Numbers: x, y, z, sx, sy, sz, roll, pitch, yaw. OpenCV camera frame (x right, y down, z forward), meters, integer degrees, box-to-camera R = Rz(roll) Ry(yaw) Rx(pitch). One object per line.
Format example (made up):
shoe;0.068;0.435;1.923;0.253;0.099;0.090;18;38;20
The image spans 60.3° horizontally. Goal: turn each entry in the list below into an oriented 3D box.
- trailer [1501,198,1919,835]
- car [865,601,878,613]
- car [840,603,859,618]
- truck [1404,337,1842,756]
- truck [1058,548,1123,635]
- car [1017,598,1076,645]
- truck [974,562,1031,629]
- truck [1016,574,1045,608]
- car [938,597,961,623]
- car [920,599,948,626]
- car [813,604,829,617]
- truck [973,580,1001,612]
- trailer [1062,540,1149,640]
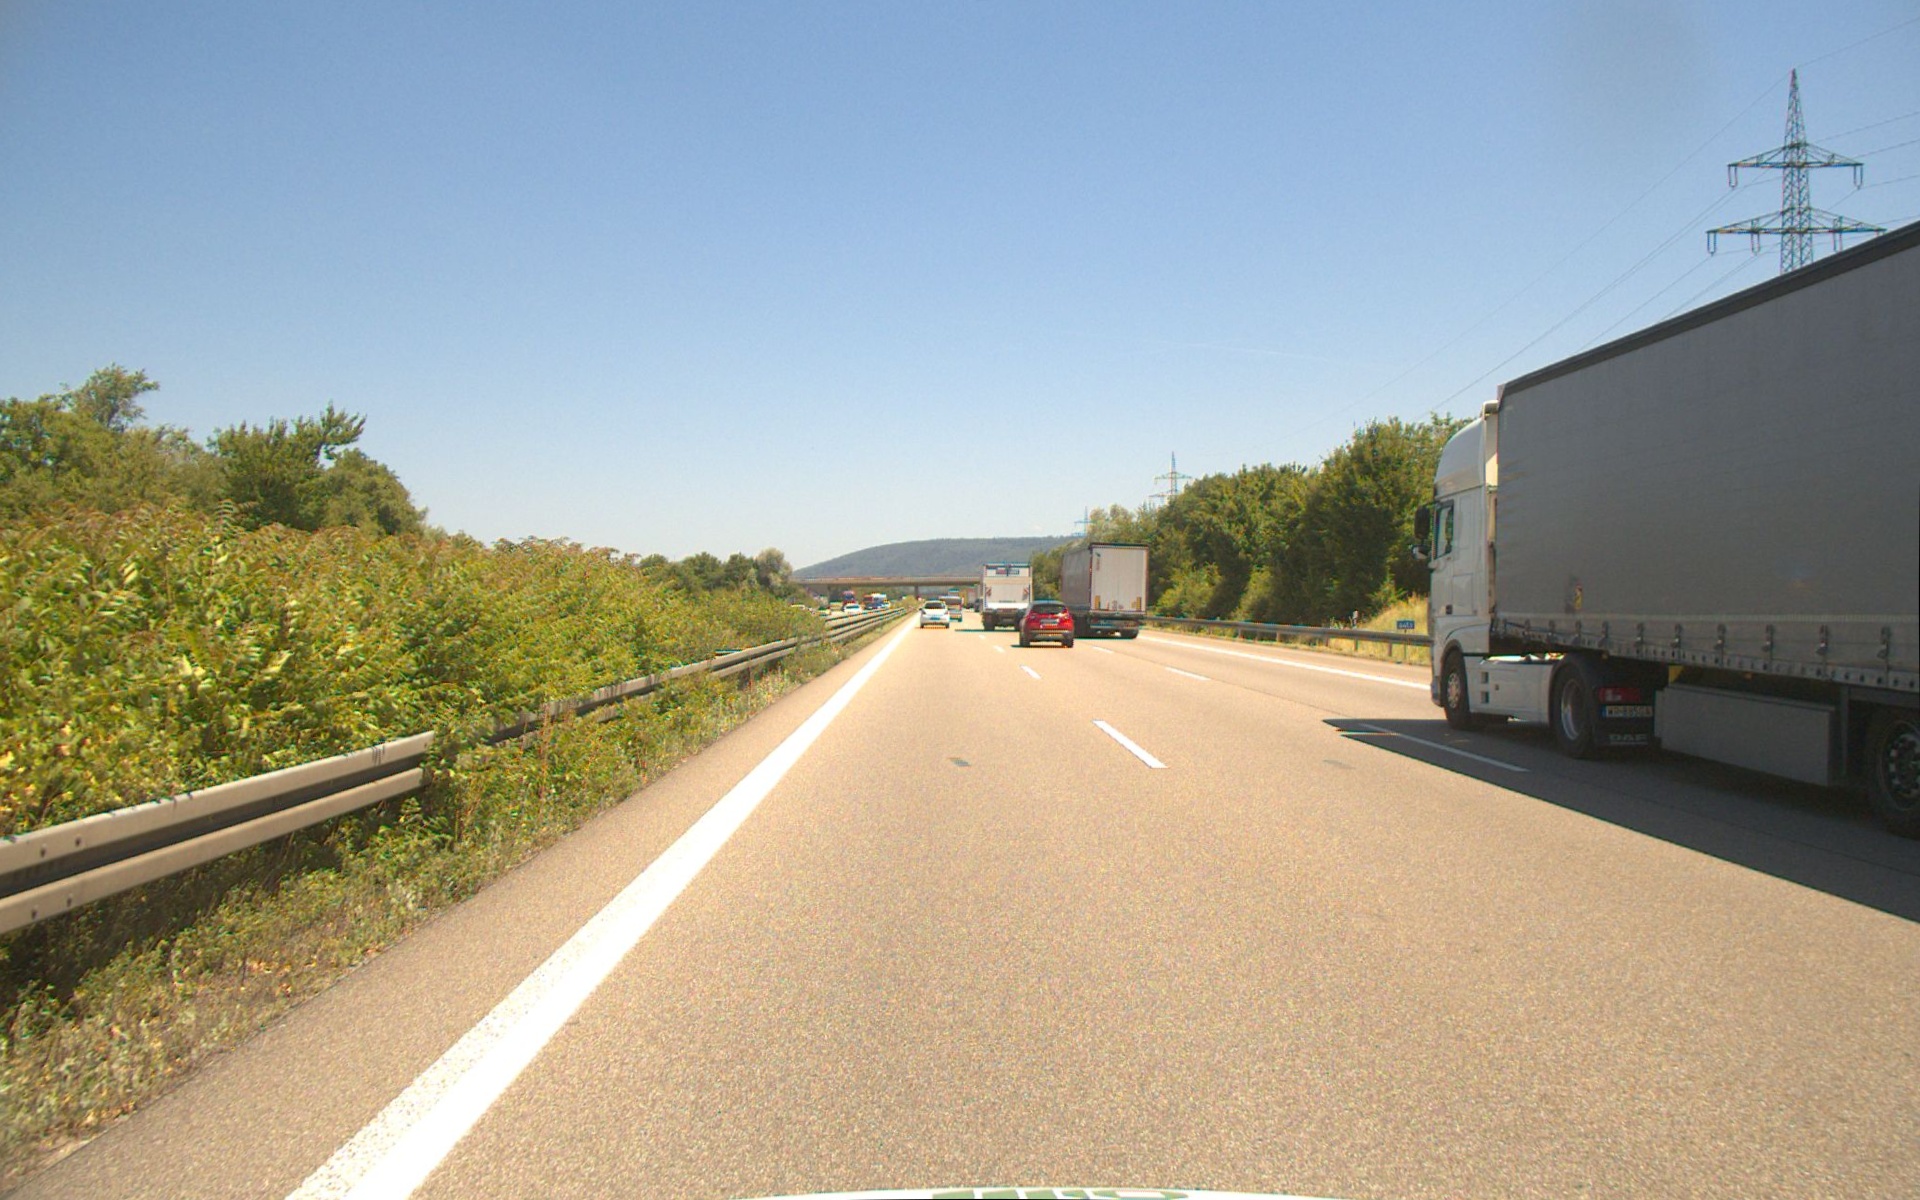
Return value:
trailer;7.610;-0.539;12.277;2.680;4.178;13.119;0;0;-1
car;-13.279;1.055;248.925;1.731;1.781;3.985;-2;0;-1
car;-11.609;1.081;174.045;1.758;1.518;4.237;-2;0;-1
truck;7.499;-0.533;19.707;2.680;4.192;6.123;0;0;-1
truck;6.559;-0.421;83.888;2.738;4.237;5.721;0;0;-1
car;2.986;0.736;57.692;1.766;1.572;3.999;0;0;-1
truck;2.225;-0.219;89.167;2.726;3.432;8.125;1;0;-1
truck;6.859;-0.857;162.628;2.176;3.265;10.382;-1;0;-1
car;-0.819;0.753;126.148;1.725;1.883;3.999;0;0;-1
car;-1.495;0.714;95.096;1.574;1.493;3.999;0;0;-1
car;-16.424;1.280;195.814;1.550;1.453;3.476;-2;0;-1
truck;3.894;-0.566;241.703;3.449;4.493;14.588;-1;0;-1
trailer;6.600;-0.424;76.961;2.732;4.237;13.572;0;0;0
